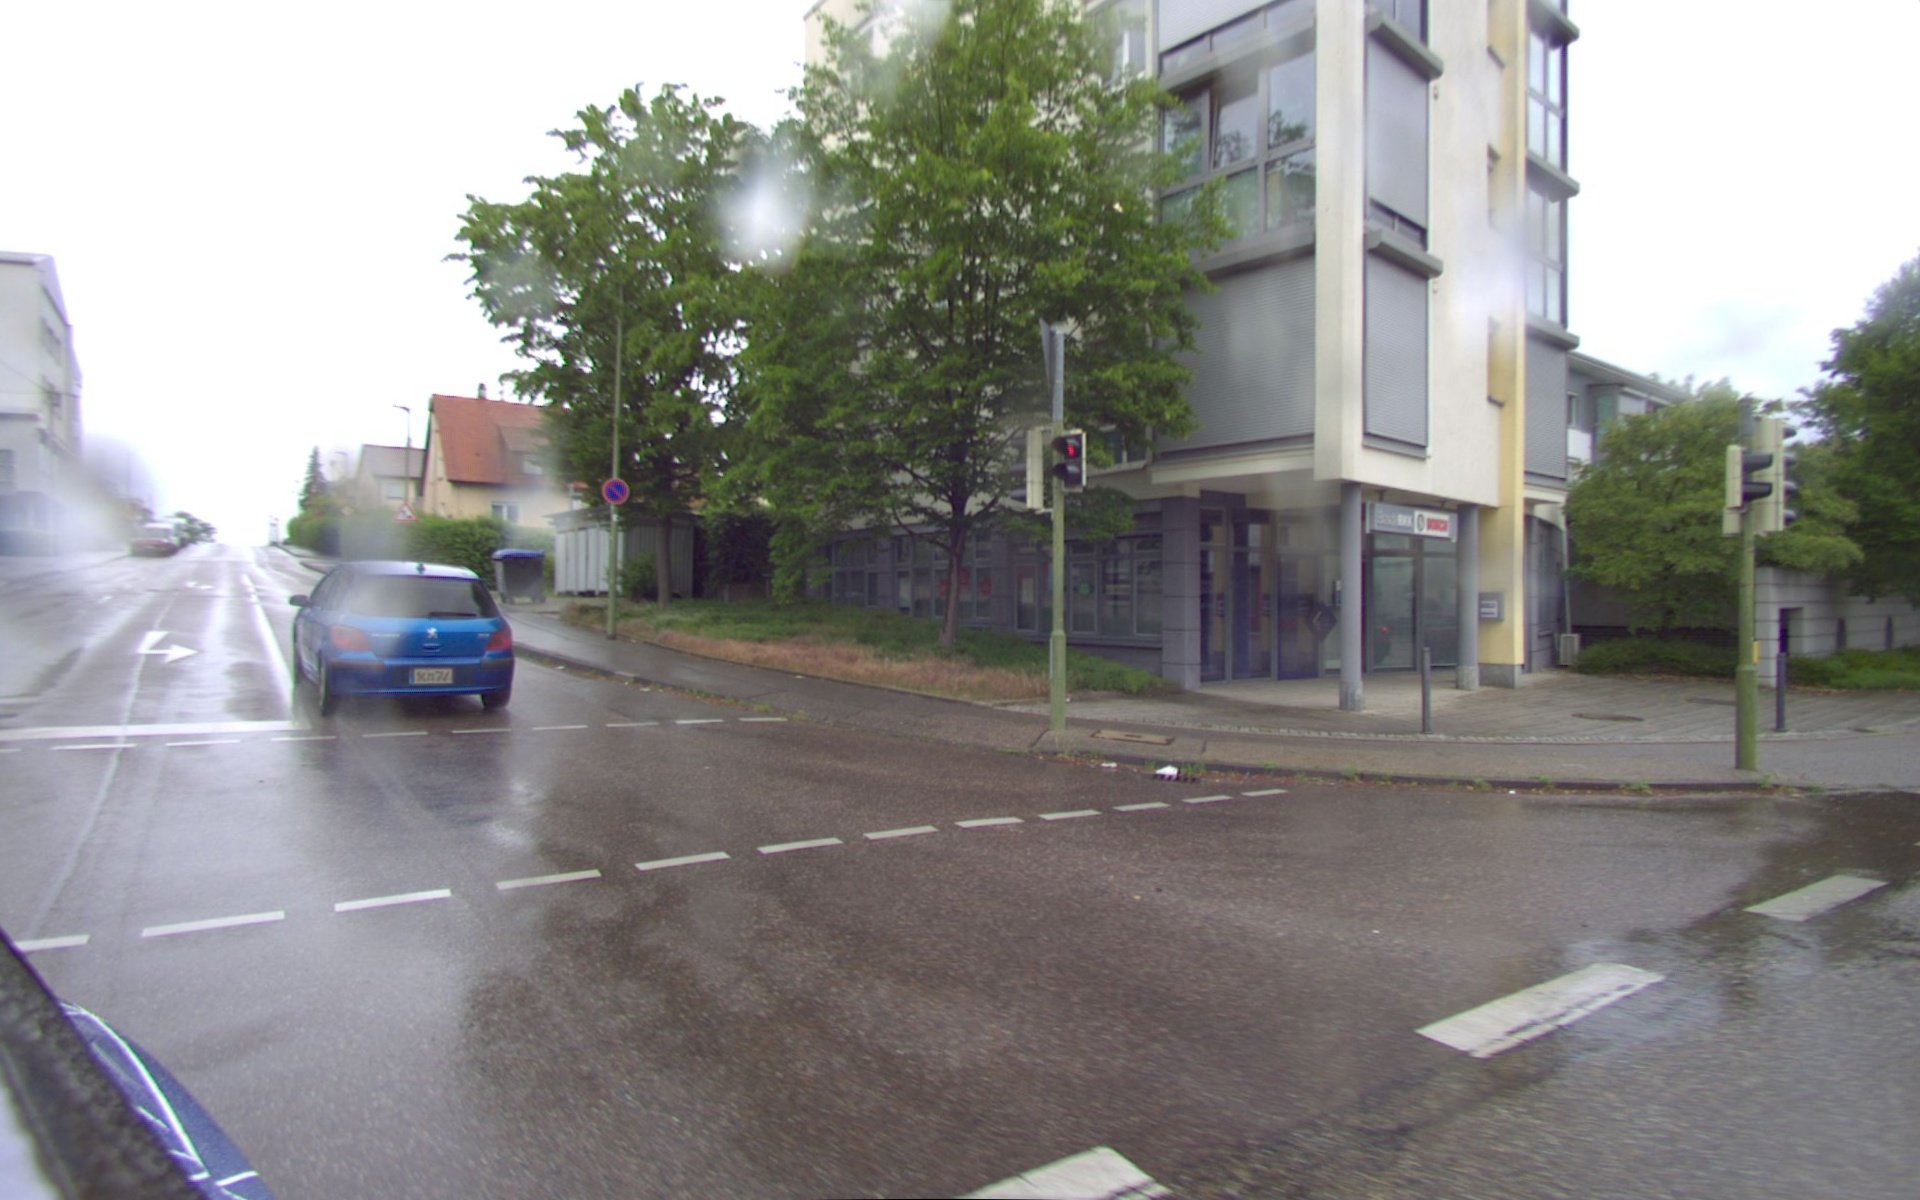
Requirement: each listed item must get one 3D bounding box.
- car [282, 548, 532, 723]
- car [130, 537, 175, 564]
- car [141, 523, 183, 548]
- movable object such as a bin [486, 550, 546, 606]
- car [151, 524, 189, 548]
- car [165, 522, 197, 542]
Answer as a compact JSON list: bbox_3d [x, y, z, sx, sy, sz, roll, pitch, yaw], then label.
[{"bbox_3d":[-6.196,0.241,11.101,1.744,1.456,4.009,1,4,-38],"label":"car"},{"bbox_3d":[-48.291,-2.975,60.609,1.819,1.534,4.011,1,2,-34],"label":"car"},{"bbox_3d":[-51.161,-4.123,64.953,1.819,1.534,4.011,1,2,-34],"label":"car"},{"bbox_3d":[-10.975,-0.560,24.993,1.040,1.306,1.204,-5,5,-36],"label":"movable object such as a bin"},{"bbox_3d":[-55.442,-4.490,71.060,1.819,1.534,4.011,1,2,-34],"label":"car"},{"bbox_3d":[-62.309,-5.434,81.024,1.819,1.534,4.011,1,2,-34],"label":"car"}]
